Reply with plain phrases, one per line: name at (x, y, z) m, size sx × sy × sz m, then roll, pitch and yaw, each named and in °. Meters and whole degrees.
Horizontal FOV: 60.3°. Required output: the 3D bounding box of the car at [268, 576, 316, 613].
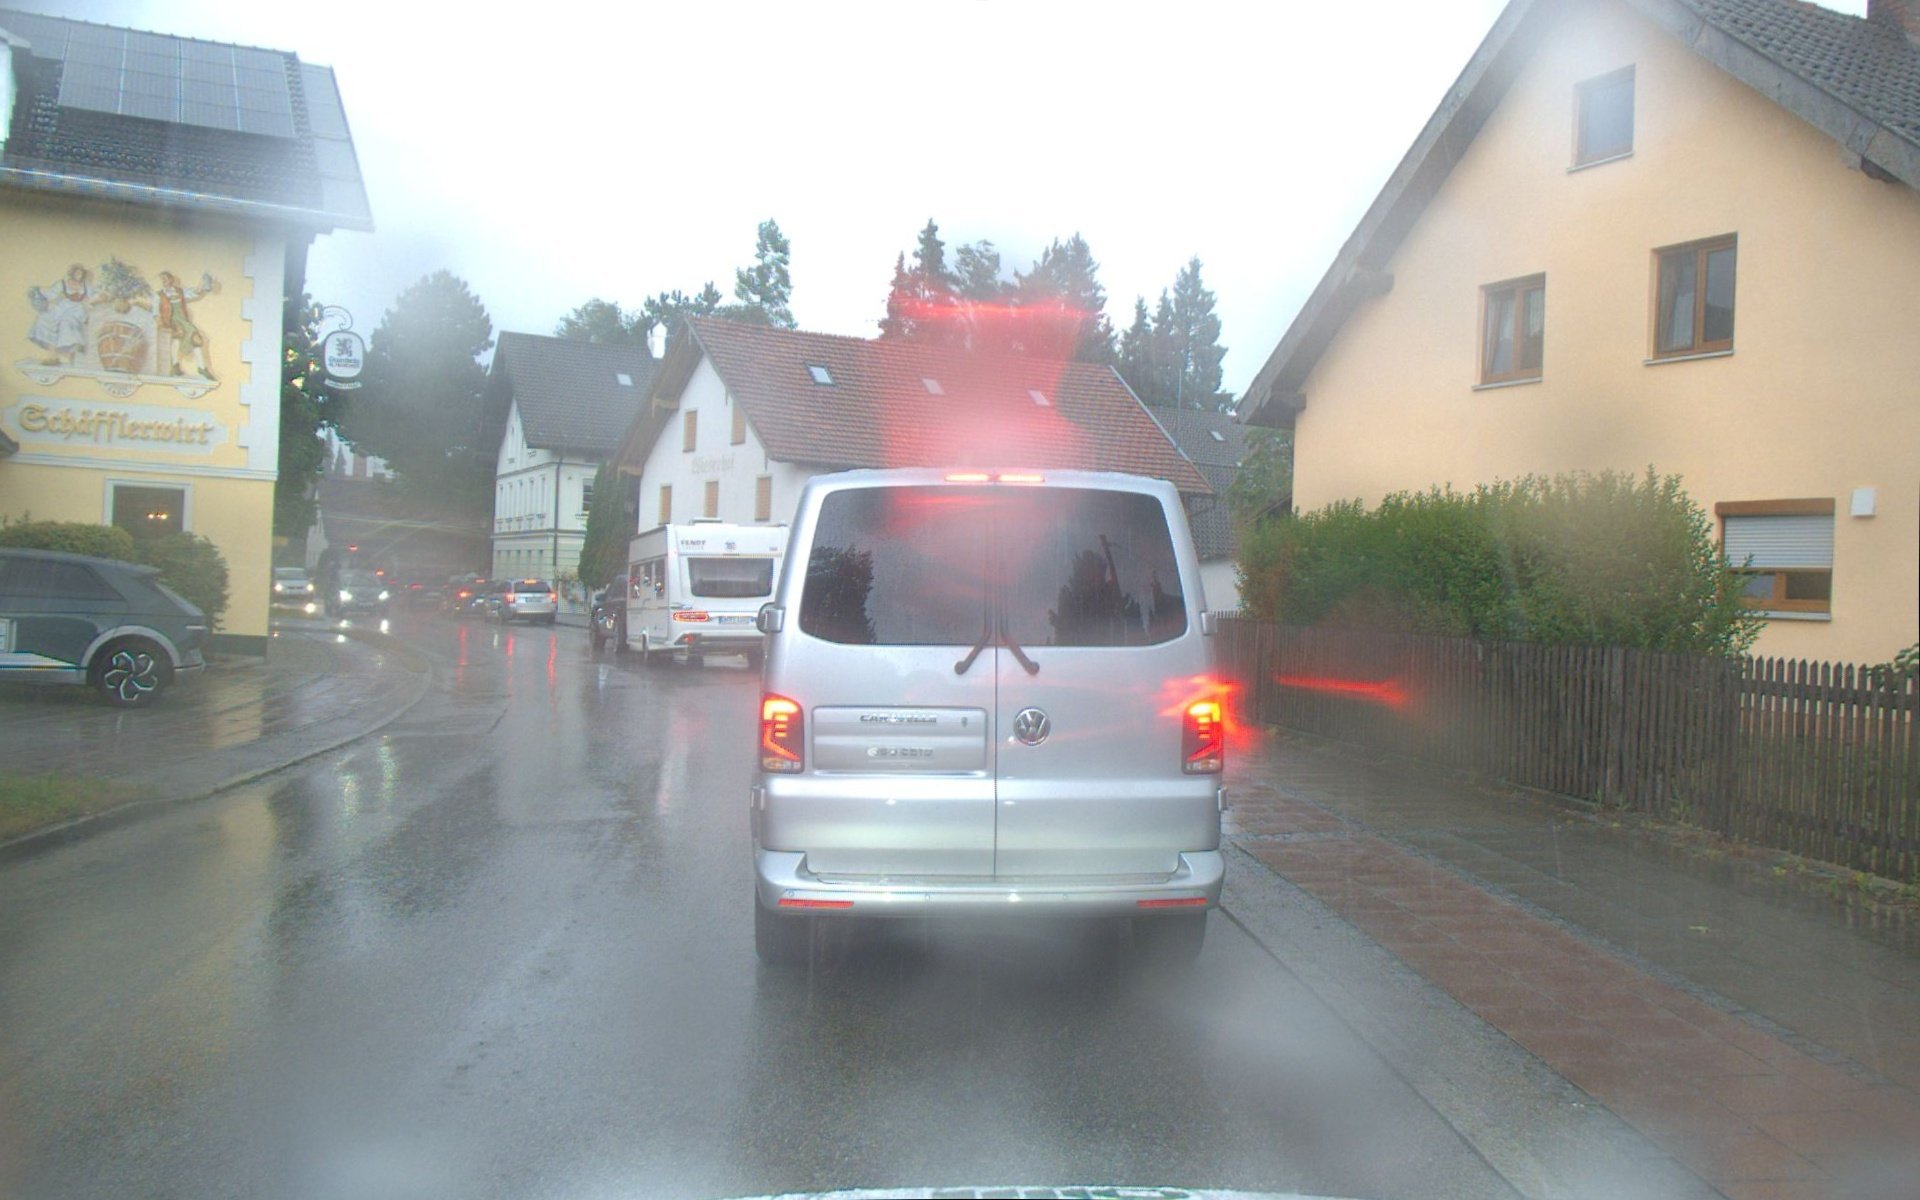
car at (-31.921, -0.250, 78.975) m, size 1.733 × 1.707 × 3.963 m, roll 0°, pitch 0°, yaw -28°

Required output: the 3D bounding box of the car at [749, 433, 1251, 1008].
car at (0.124, 0.417, 8.310) m, size 1.740 × 1.997 × 5.073 m, roll 0°, pitch 0°, yaw 0°

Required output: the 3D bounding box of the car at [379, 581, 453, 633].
car at (-22.637, 0.250, 68.751) m, size 2.143 × 1.932 × 4.971 m, roll 2°, pitch 0°, yaw -27°

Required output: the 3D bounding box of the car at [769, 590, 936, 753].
car at (-1.388, 0.730, 19.702) m, size 1.676 × 1.611 × 4.678 m, roll -1°, pitch 1°, yaw -7°

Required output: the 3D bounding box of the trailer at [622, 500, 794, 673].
trailer at (-4.927, -0.240, 31.495) m, size 2.236 × 2.955 × 6.100 m, roll 1°, pitch 0°, yaw -18°

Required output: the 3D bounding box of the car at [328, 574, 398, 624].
car at (-22.176, -0.060, 61.356) m, size 1.900 × 1.775 × 4.154 m, roll 0°, pitch 0°, yaw -28°

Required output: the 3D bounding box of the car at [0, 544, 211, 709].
car at (-10.706, 0.191, 18.008) m, size 4.427 × 1.594 × 1.822 m, roll 5°, pitch 1°, yaw -29°

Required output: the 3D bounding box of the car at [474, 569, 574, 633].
car at (-14.383, 0.018, 54.359) m, size 2.143 × 1.932 × 4.970 m, roll 2°, pitch -1°, yaw -27°

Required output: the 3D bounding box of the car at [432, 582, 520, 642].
car at (-17.591, 0.413, 59.944) m, size 2.143 × 1.932 × 4.971 m, roll 2°, pitch 0°, yaw -27°

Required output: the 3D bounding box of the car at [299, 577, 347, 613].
car at (-37.884, -0.310, 98.299) m, size 2.143 × 1.932 × 4.971 m, roll 2°, pitch 0°, yaw -27°

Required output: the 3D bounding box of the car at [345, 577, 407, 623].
car at (-27.763, -0.014, 78.539) m, size 2.143 × 1.932 × 4.971 m, roll 2°, pitch 0°, yaw -27°

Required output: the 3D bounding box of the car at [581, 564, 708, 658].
car at (-7.089, 0.210, 36.755) m, size 2.023 × 1.932 × 5.147 m, roll 1°, pitch 0°, yaw -19°
